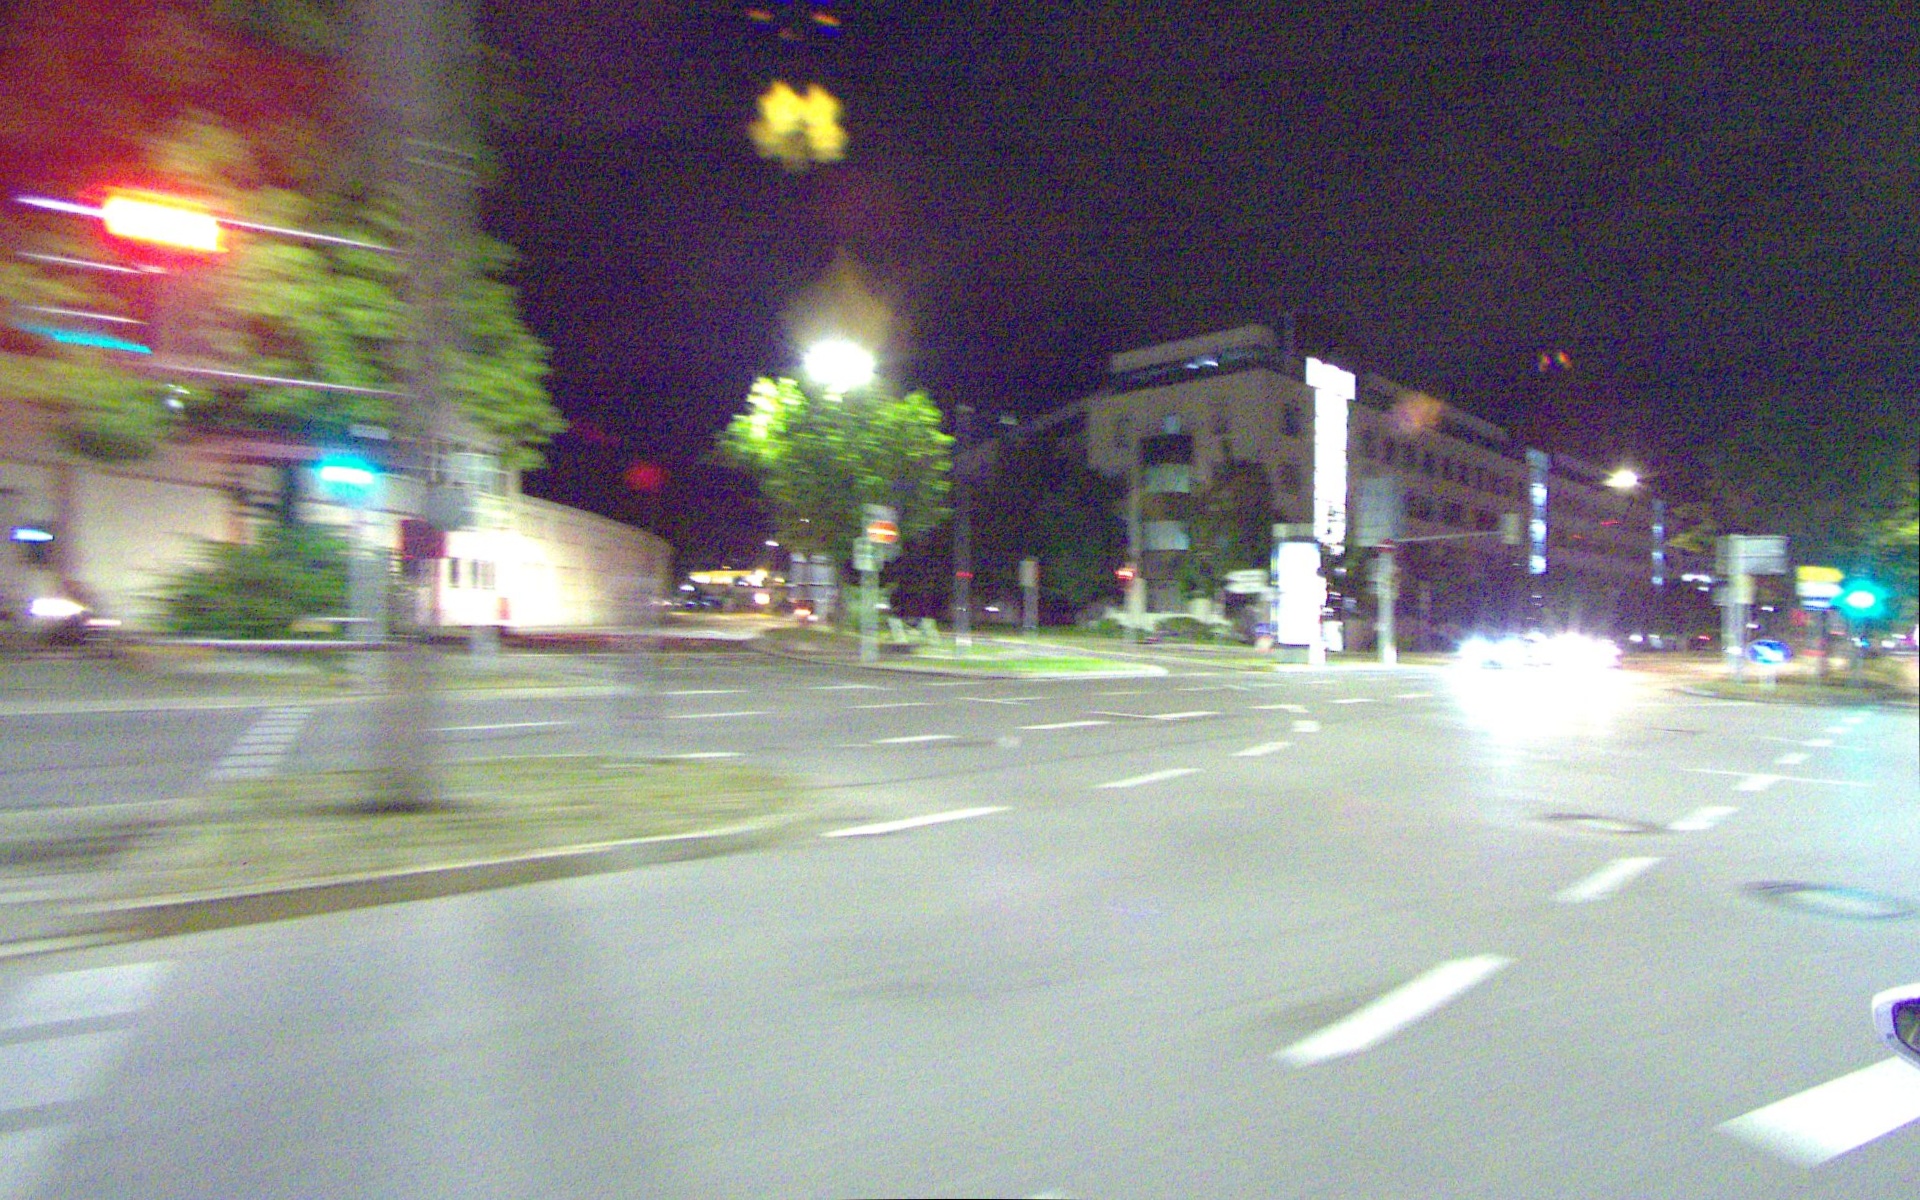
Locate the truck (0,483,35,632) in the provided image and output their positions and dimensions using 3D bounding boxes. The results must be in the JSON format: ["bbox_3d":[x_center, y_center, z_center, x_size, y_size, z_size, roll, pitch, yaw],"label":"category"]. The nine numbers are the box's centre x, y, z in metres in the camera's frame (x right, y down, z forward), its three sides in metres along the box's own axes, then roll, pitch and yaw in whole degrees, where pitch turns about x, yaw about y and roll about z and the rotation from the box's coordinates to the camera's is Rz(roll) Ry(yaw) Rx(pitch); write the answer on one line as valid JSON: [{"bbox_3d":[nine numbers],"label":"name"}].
[{"bbox_3d":[-25.996,-1.147,23.335,2.353,3.743,6.209,2,0,18],"label":"truck"}]
